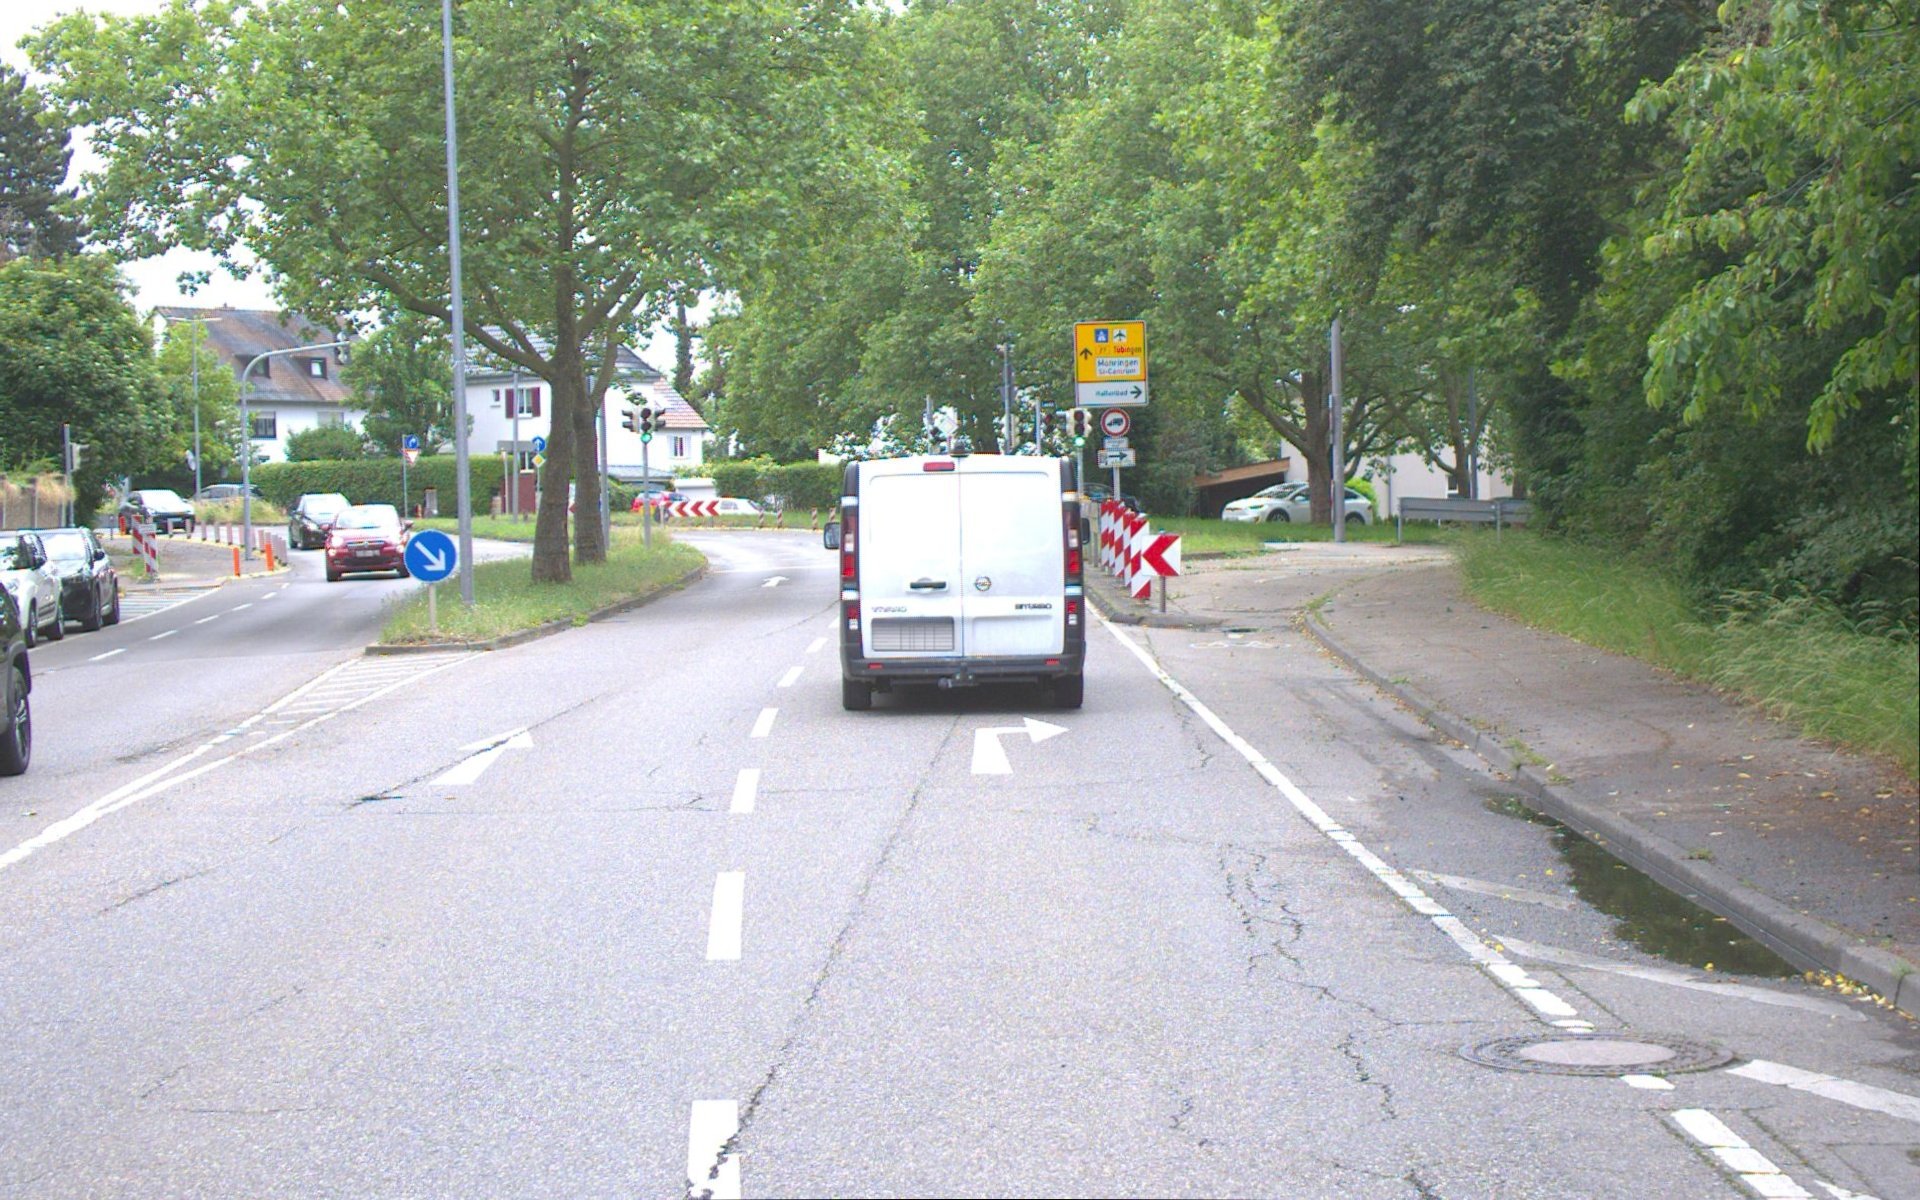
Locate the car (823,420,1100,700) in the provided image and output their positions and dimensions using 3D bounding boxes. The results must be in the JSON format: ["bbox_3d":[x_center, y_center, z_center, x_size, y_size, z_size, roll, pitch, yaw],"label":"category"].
[{"bbox_3d":[-0.084,-0.337,27.799,2.006,2.031,5.011,1,1,-2],"label":"car"}]

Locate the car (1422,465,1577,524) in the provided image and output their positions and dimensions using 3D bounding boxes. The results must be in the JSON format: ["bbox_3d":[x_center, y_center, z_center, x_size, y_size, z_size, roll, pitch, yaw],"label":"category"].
[{"bbox_3d":[16.986,-3.336,108.119,4.730,1.763,2.000,-2,2,-35],"label":"car"}]

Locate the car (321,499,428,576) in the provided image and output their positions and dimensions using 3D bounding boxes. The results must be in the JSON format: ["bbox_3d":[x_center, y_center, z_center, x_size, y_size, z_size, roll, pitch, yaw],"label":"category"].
[{"bbox_3d":[-12.774,-1.375,75.182,1.997,1.582,3.998,-2,1,-6],"label":"car"}]

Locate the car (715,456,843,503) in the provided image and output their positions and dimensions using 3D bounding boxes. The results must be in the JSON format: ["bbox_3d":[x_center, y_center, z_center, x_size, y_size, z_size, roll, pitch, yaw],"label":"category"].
[{"bbox_3d":[-7.088,-4.706,134.550,4.738,1.763,1.996,1,2,34],"label":"car"}]

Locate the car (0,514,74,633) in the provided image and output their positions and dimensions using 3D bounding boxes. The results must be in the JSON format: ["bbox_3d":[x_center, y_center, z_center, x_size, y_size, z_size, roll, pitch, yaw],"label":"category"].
[{"bbox_3d":[-13.748,-0.382,48.657,1.672,1.586,4.097,-3,2,-6],"label":"car"}]

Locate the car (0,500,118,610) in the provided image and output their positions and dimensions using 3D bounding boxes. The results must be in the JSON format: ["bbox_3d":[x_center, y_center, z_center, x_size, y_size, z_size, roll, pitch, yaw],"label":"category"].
[{"bbox_3d":[-14.437,-0.717,53.950,1.887,1.619,4.432,-2,1,-8],"label":"car"}]

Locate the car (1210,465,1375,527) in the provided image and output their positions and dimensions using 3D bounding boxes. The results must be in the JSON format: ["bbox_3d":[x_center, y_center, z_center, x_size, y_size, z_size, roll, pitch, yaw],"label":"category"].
[{"bbox_3d":[9.983,-3.121,103.018,4.730,1.763,2.000,-2,2,-35],"label":"car"}]

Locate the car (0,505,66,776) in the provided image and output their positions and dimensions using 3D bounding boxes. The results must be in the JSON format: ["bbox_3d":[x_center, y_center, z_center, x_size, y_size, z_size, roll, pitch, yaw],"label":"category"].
[{"bbox_3d":[-6.782,0.280,20.759,1.842,1.641,4.214,-2,2,-3],"label":"car"}]
